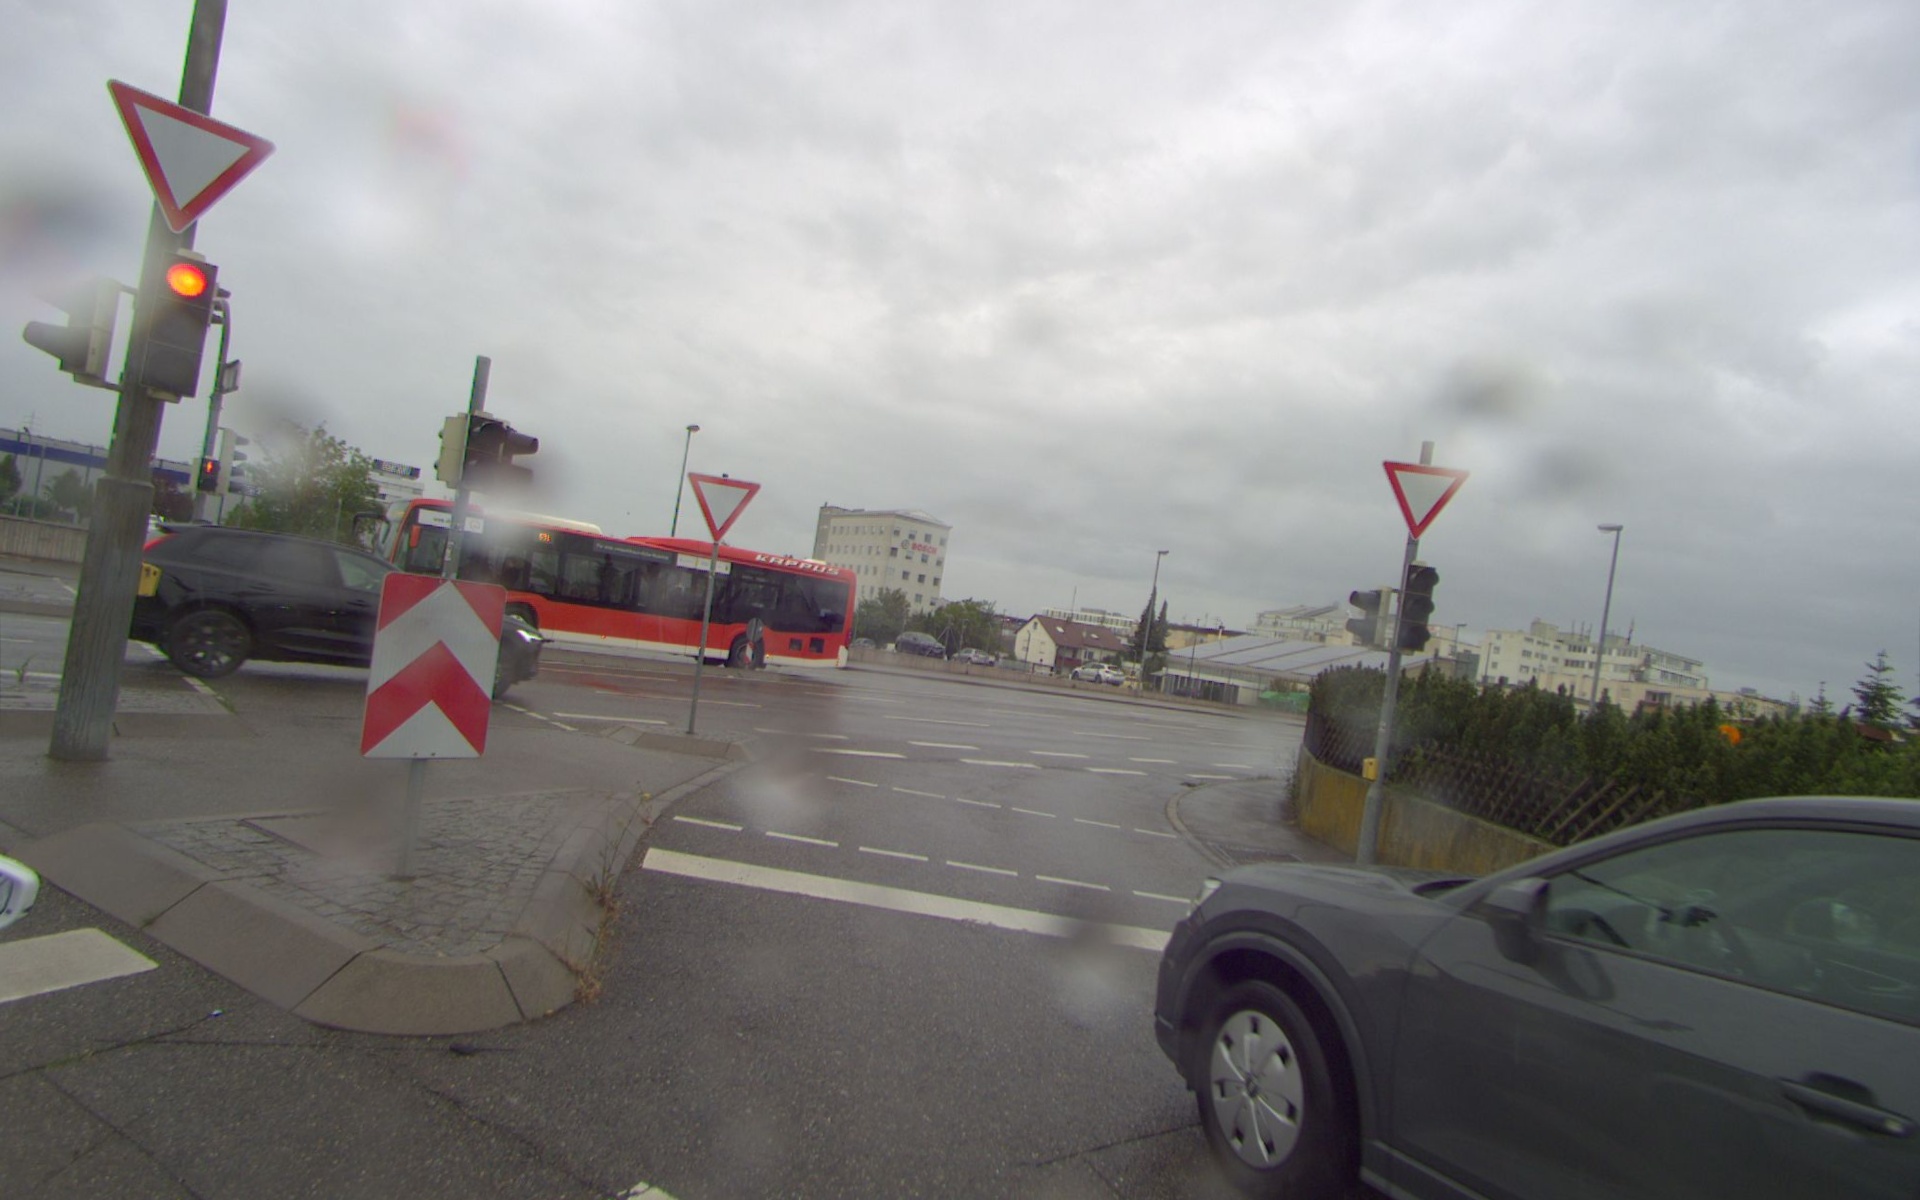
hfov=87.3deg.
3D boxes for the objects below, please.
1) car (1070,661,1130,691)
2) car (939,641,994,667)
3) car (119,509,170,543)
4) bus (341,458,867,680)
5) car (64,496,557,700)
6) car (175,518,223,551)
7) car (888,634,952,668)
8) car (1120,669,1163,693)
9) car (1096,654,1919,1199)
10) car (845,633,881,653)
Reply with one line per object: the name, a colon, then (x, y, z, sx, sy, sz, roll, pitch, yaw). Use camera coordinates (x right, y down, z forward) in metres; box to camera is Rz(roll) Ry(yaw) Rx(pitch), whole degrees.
car: (9.731, 5.268, 70.050, 1.979, 1.494, 3.971, 9, -2, -29)
car: (0.537, 4.390, 82.222, 3.951, 1.494, 1.989, 9, -2, -24)
car: (-45.622, -4.117, 56.356, 1.985, 1.495, 3.959, 10, -2, -38)
bus: (-8.398, -0.414, 25.868, 12.244, 3.357, 3.040, 12, -3, -41)
car: (-7.677, 0.065, 12.222, 4.608, 1.697, 2.009, 11, -3, -44)
car: (-43.902, -3.791, 58.024, 1.986, 1.495, 3.958, 10, -2, -38)
car: (-2.479, 3.104, 61.953, 1.983, 1.494, 3.964, 10, -2, -34)
car: (18.049, 8.041, 100.010, 3.760, 1.771, 1.887, 9, -2, -29)
car: (2.231, 1.140, 2.398, 1.670, 1.512, 3.913, 9, -2, -27)
car: (-9.748, 4.257, 100.590, 1.979, 1.494, 3.971, 9, -2, -29)
